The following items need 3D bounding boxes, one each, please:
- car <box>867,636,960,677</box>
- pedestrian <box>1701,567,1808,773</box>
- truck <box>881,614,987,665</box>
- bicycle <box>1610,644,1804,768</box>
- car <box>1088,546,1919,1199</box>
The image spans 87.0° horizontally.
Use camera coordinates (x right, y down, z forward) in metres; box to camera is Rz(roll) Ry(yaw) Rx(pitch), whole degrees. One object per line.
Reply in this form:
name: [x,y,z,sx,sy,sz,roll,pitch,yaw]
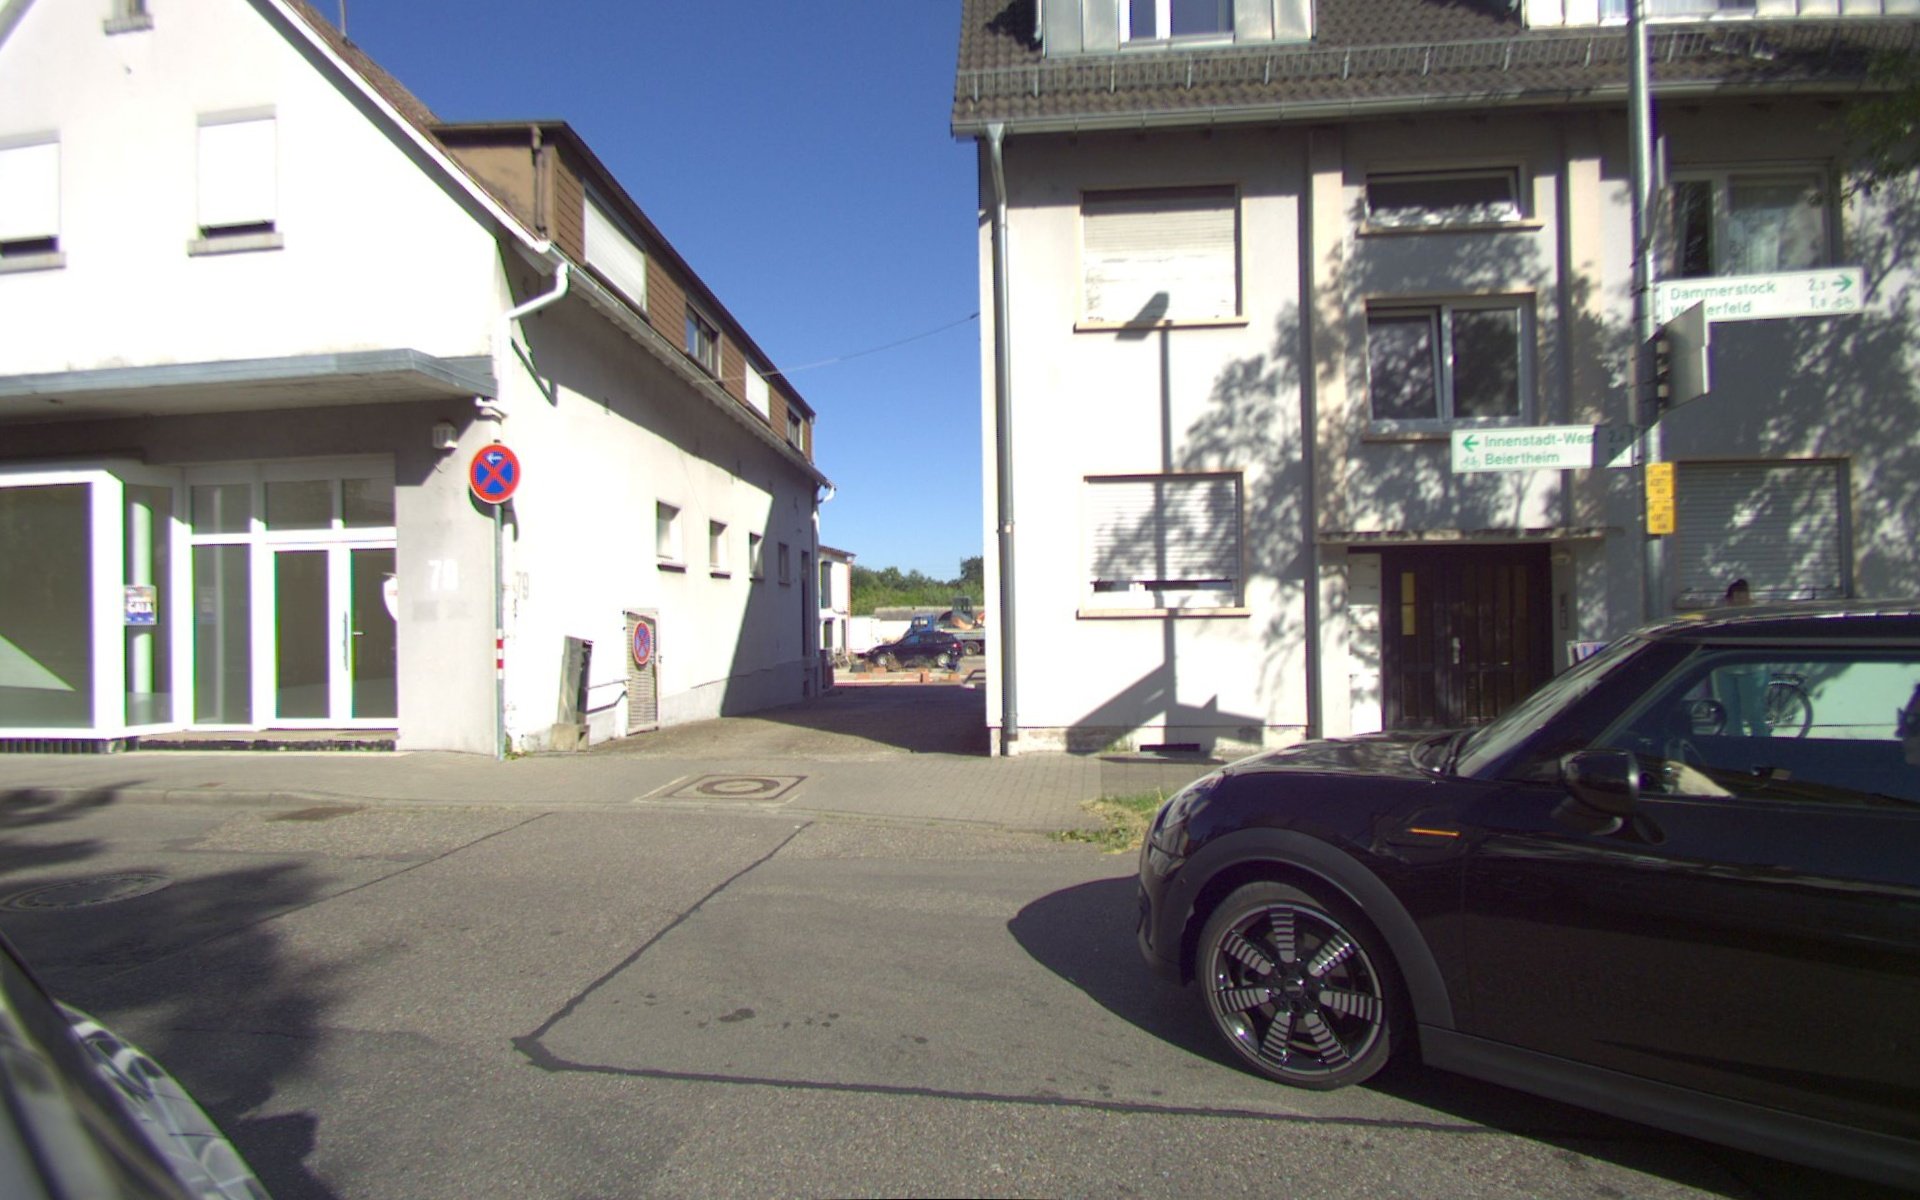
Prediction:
car: [-2.198,2.675,48.419,4.209,1.782,1.946,-2,-1,6]
pedestrian: [6.838,0.581,8.727,0.551,1.705,0.483,1,0,12]
truck: [-1.565,2.415,61.370,6.167,2.972,2.121,-1,-2,11]
bicycle: [6.740,0.941,9.172,1.365,1.060,0.423,0,-1,9]
car: [2.456,0.624,2.603,4.000,1.488,1.642,-2,0,43]
